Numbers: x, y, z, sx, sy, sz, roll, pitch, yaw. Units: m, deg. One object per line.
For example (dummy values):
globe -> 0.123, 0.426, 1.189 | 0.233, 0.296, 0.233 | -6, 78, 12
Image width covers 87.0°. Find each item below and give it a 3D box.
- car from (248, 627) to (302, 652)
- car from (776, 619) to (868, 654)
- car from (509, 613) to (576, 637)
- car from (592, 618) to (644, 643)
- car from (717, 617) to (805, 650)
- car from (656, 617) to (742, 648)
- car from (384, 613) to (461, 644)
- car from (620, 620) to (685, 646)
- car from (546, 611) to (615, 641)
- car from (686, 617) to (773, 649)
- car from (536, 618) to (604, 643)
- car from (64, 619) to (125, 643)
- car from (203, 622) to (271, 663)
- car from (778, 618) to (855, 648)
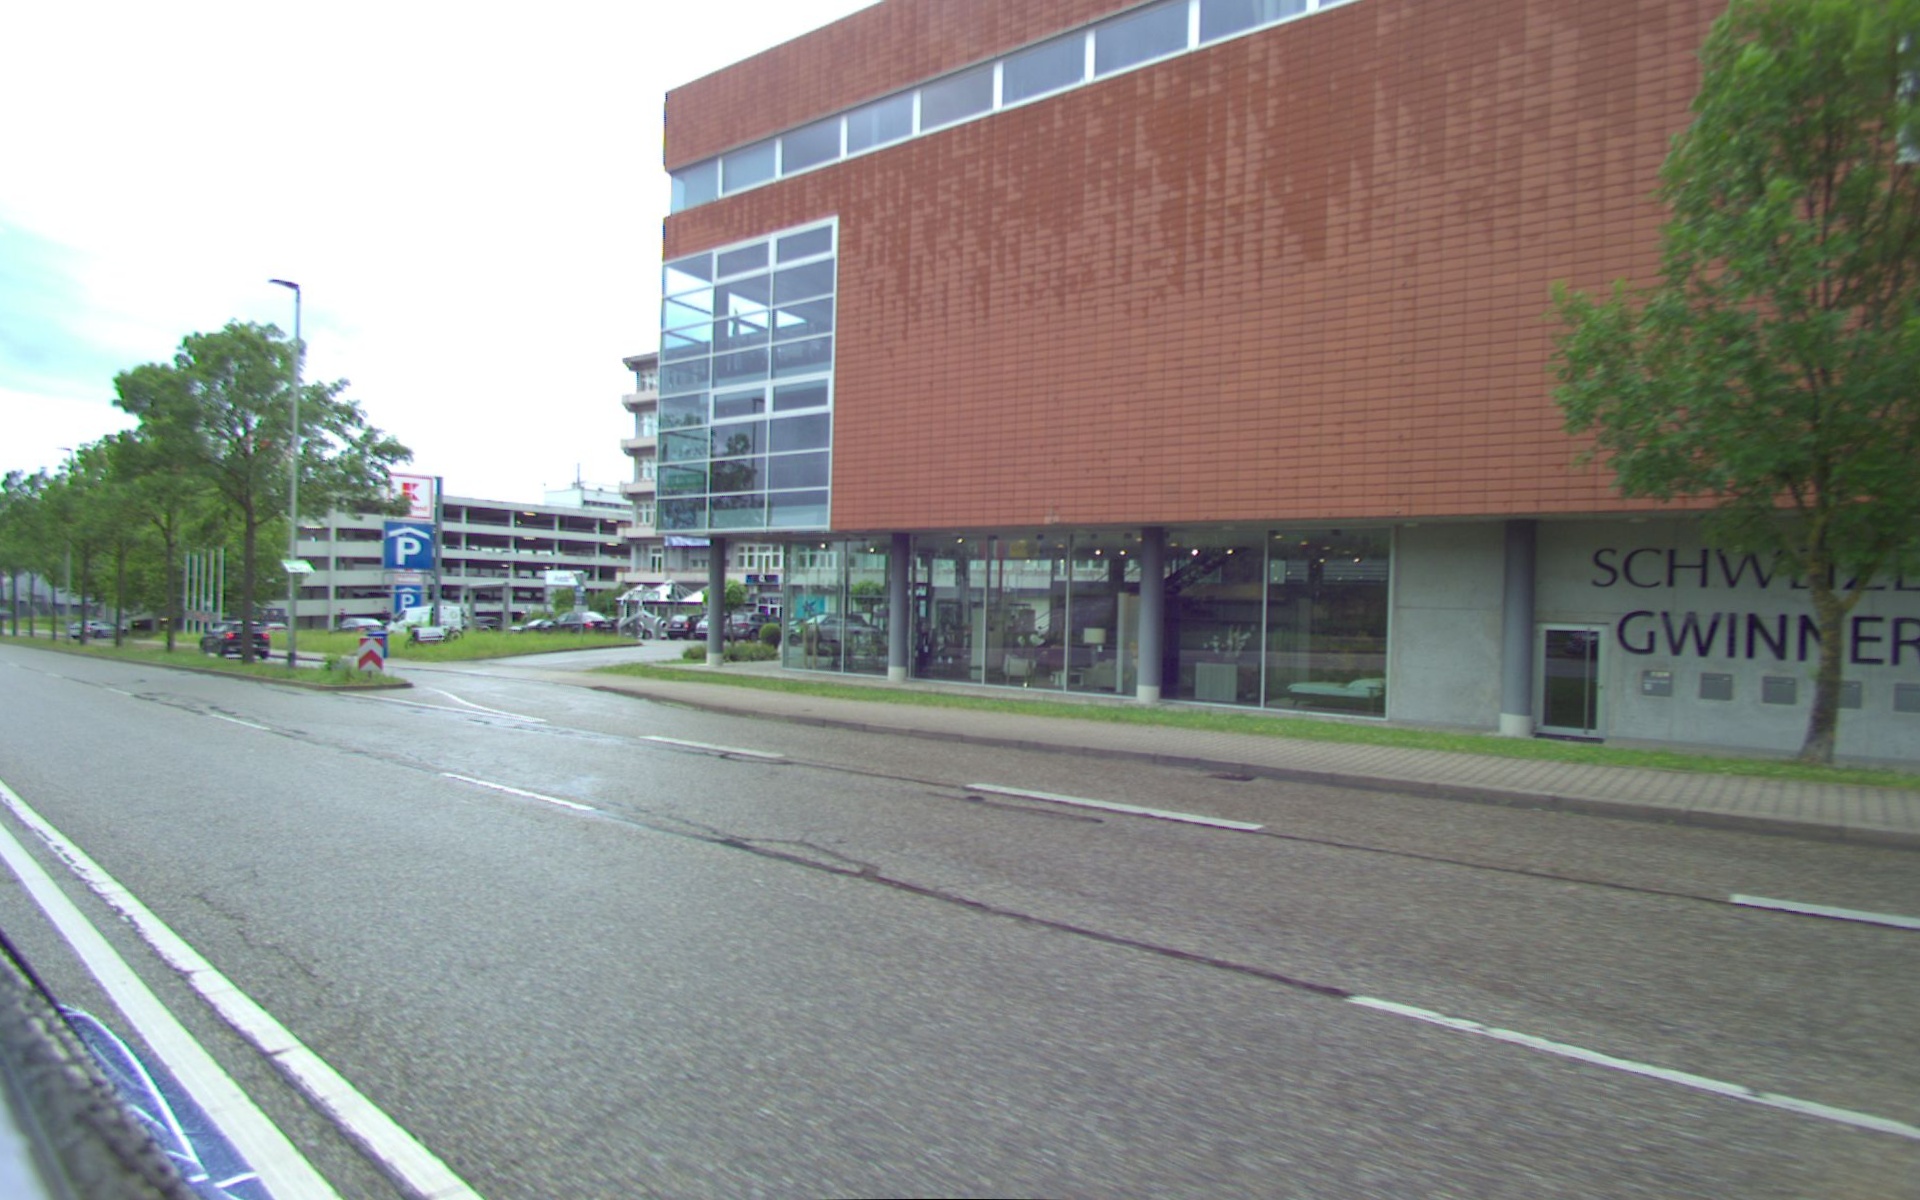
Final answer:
car -> -45.464, 2.589, 67.116 | 4.058, 1.630, 1.810 | -1, -2, 38
car -> -6.777, 1.782, 49.999 | 1.834, 1.630, 4.376 | -1, -2, 43
car -> -29.282, 1.754, 71.062 | 1.833, 1.630, 4.008 | -1, -2, 40
car -> -20.281, 1.795, 59.952 | 3.497, 1.433, 1.420 | -1, -2, 44
car -> -10.286, 1.743, 52.535 | 1.832, 1.630, 4.382 | -1, -2, 38
car -> -14.297, 1.790, 55.678 | 1.832, 1.630, 4.382 | -1, -2, 38
car -> -29.553, 1.544, 55.610 | 4.427, 1.630, 1.813 | -1, -2, 34
car -> -20.024, 2.137, 66.030 | 1.677, 1.611, 3.955 | -1, -2, 33
car -> -17.183, 1.164, 45.768 | 3.448, 1.293, 1.490 | 0, 0, 41
car -> -12.313, 1.780, 54.196 | 1.832, 1.630, 4.382 | -1, -2, 38
car -> -26.813, 2.100, 69.687 | 1.833, 1.630, 4.008 | -1, -2, 40
car -> -68.934, 2.492, 80.710 | 1.821, 1.864, 4.007 | 0, -2, -8
car -> -31.018, 1.790, 43.390 | 1.807, 1.630, 4.003 | -1, -1, -44
car -> -8.106, 1.866, 57.342 | 1.833, 1.630, 4.138 | -1, -2, 40
